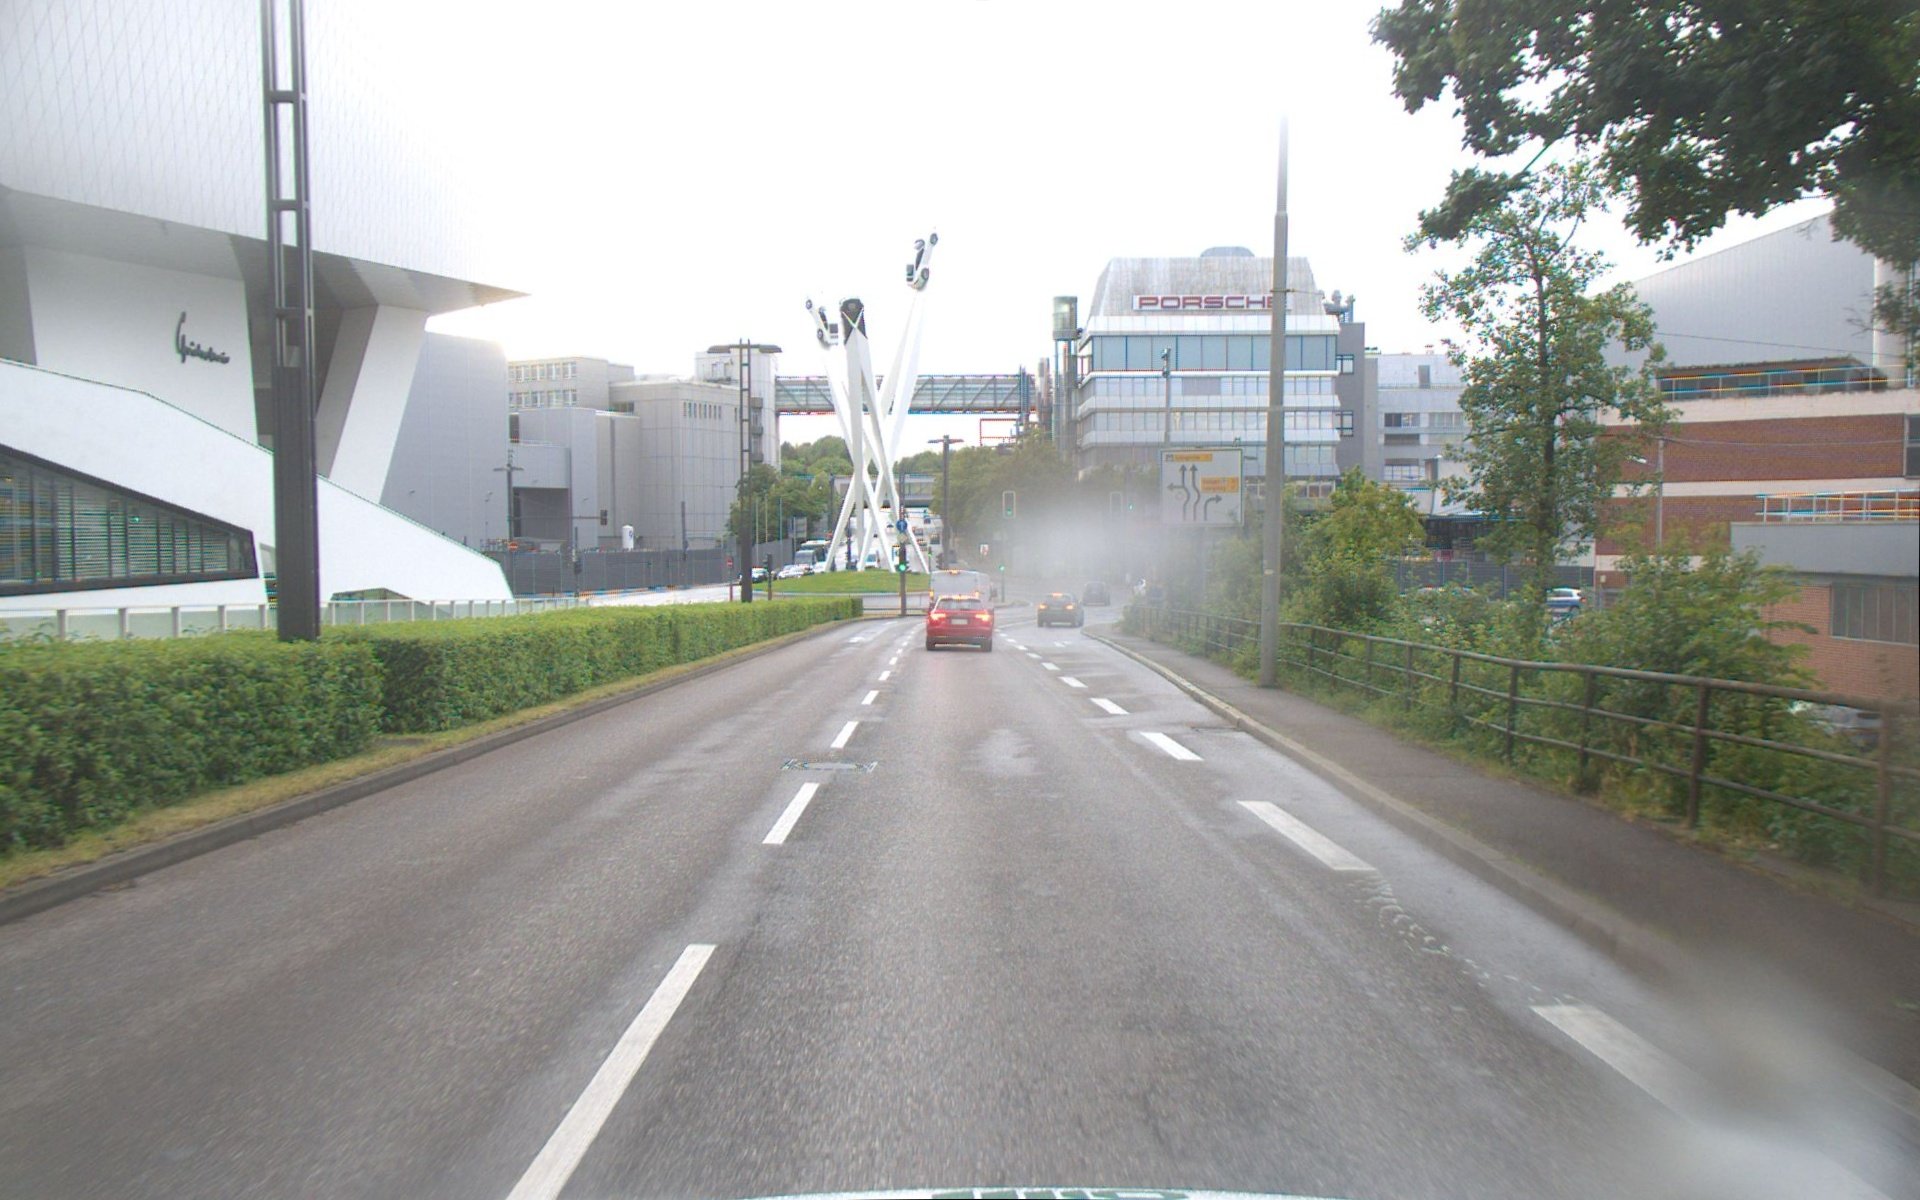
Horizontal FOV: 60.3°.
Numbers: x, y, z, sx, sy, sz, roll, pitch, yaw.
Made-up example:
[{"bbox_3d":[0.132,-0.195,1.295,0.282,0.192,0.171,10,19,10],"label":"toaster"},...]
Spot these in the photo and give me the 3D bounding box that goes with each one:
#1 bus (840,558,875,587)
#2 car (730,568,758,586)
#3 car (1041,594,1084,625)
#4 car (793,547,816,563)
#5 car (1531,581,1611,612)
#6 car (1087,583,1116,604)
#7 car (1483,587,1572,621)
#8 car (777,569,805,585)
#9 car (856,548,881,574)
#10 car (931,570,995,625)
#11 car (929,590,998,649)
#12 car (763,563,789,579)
[{"bbox_3d":[-11.975,-3.286,194.684,2.613,3.256,12.676,0,1,3],"label":"bus"},{"bbox_3d":[-19.175,-2.061,146.718,1.795,1.497,4.515,0,1,1],"label":"car"},{"bbox_3d":[4.444,0.392,71.434,1.576,1.313,3.569,0,0,8],"label":"car"},{"bbox_3d":[-15.672,-4.544,167.079,1.795,1.497,4.515,0,1,1],"label":"car"},{"bbox_3d":[35.572,-0.234,96.344,3.910,1.629,1.900,3,3,42],"label":"car"},{"bbox_3d":[8.987,-0.439,105.535,1.525,1.310,3.413,0,0,-1],"label":"car"},{"bbox_3d":[27.608,0.177,80.582,1.805,1.556,4.136,1,1,-23],"label":"car"},{"bbox_3d":[-14.966,-2.043,146.641,1.807,1.361,4.002,0,1,3],"label":"car"},{"bbox_3d":[-8.768,-3.748,159.114,1.952,2.489,5.428,-1,1,1],"label":"car"},{"bbox_3d":[0.182,-0.099,66.744,2.185,2.144,4.957,0,0,5],"label":"car"},{"bbox_3d":[0.060,0.486,43.644,1.736,1.490,3.732,0,0,-1],"label":"car"},{"bbox_3d":[-17.030,-2.716,153.511,1.795,1.497,4.515,0,1,1],"label":"car"}]
